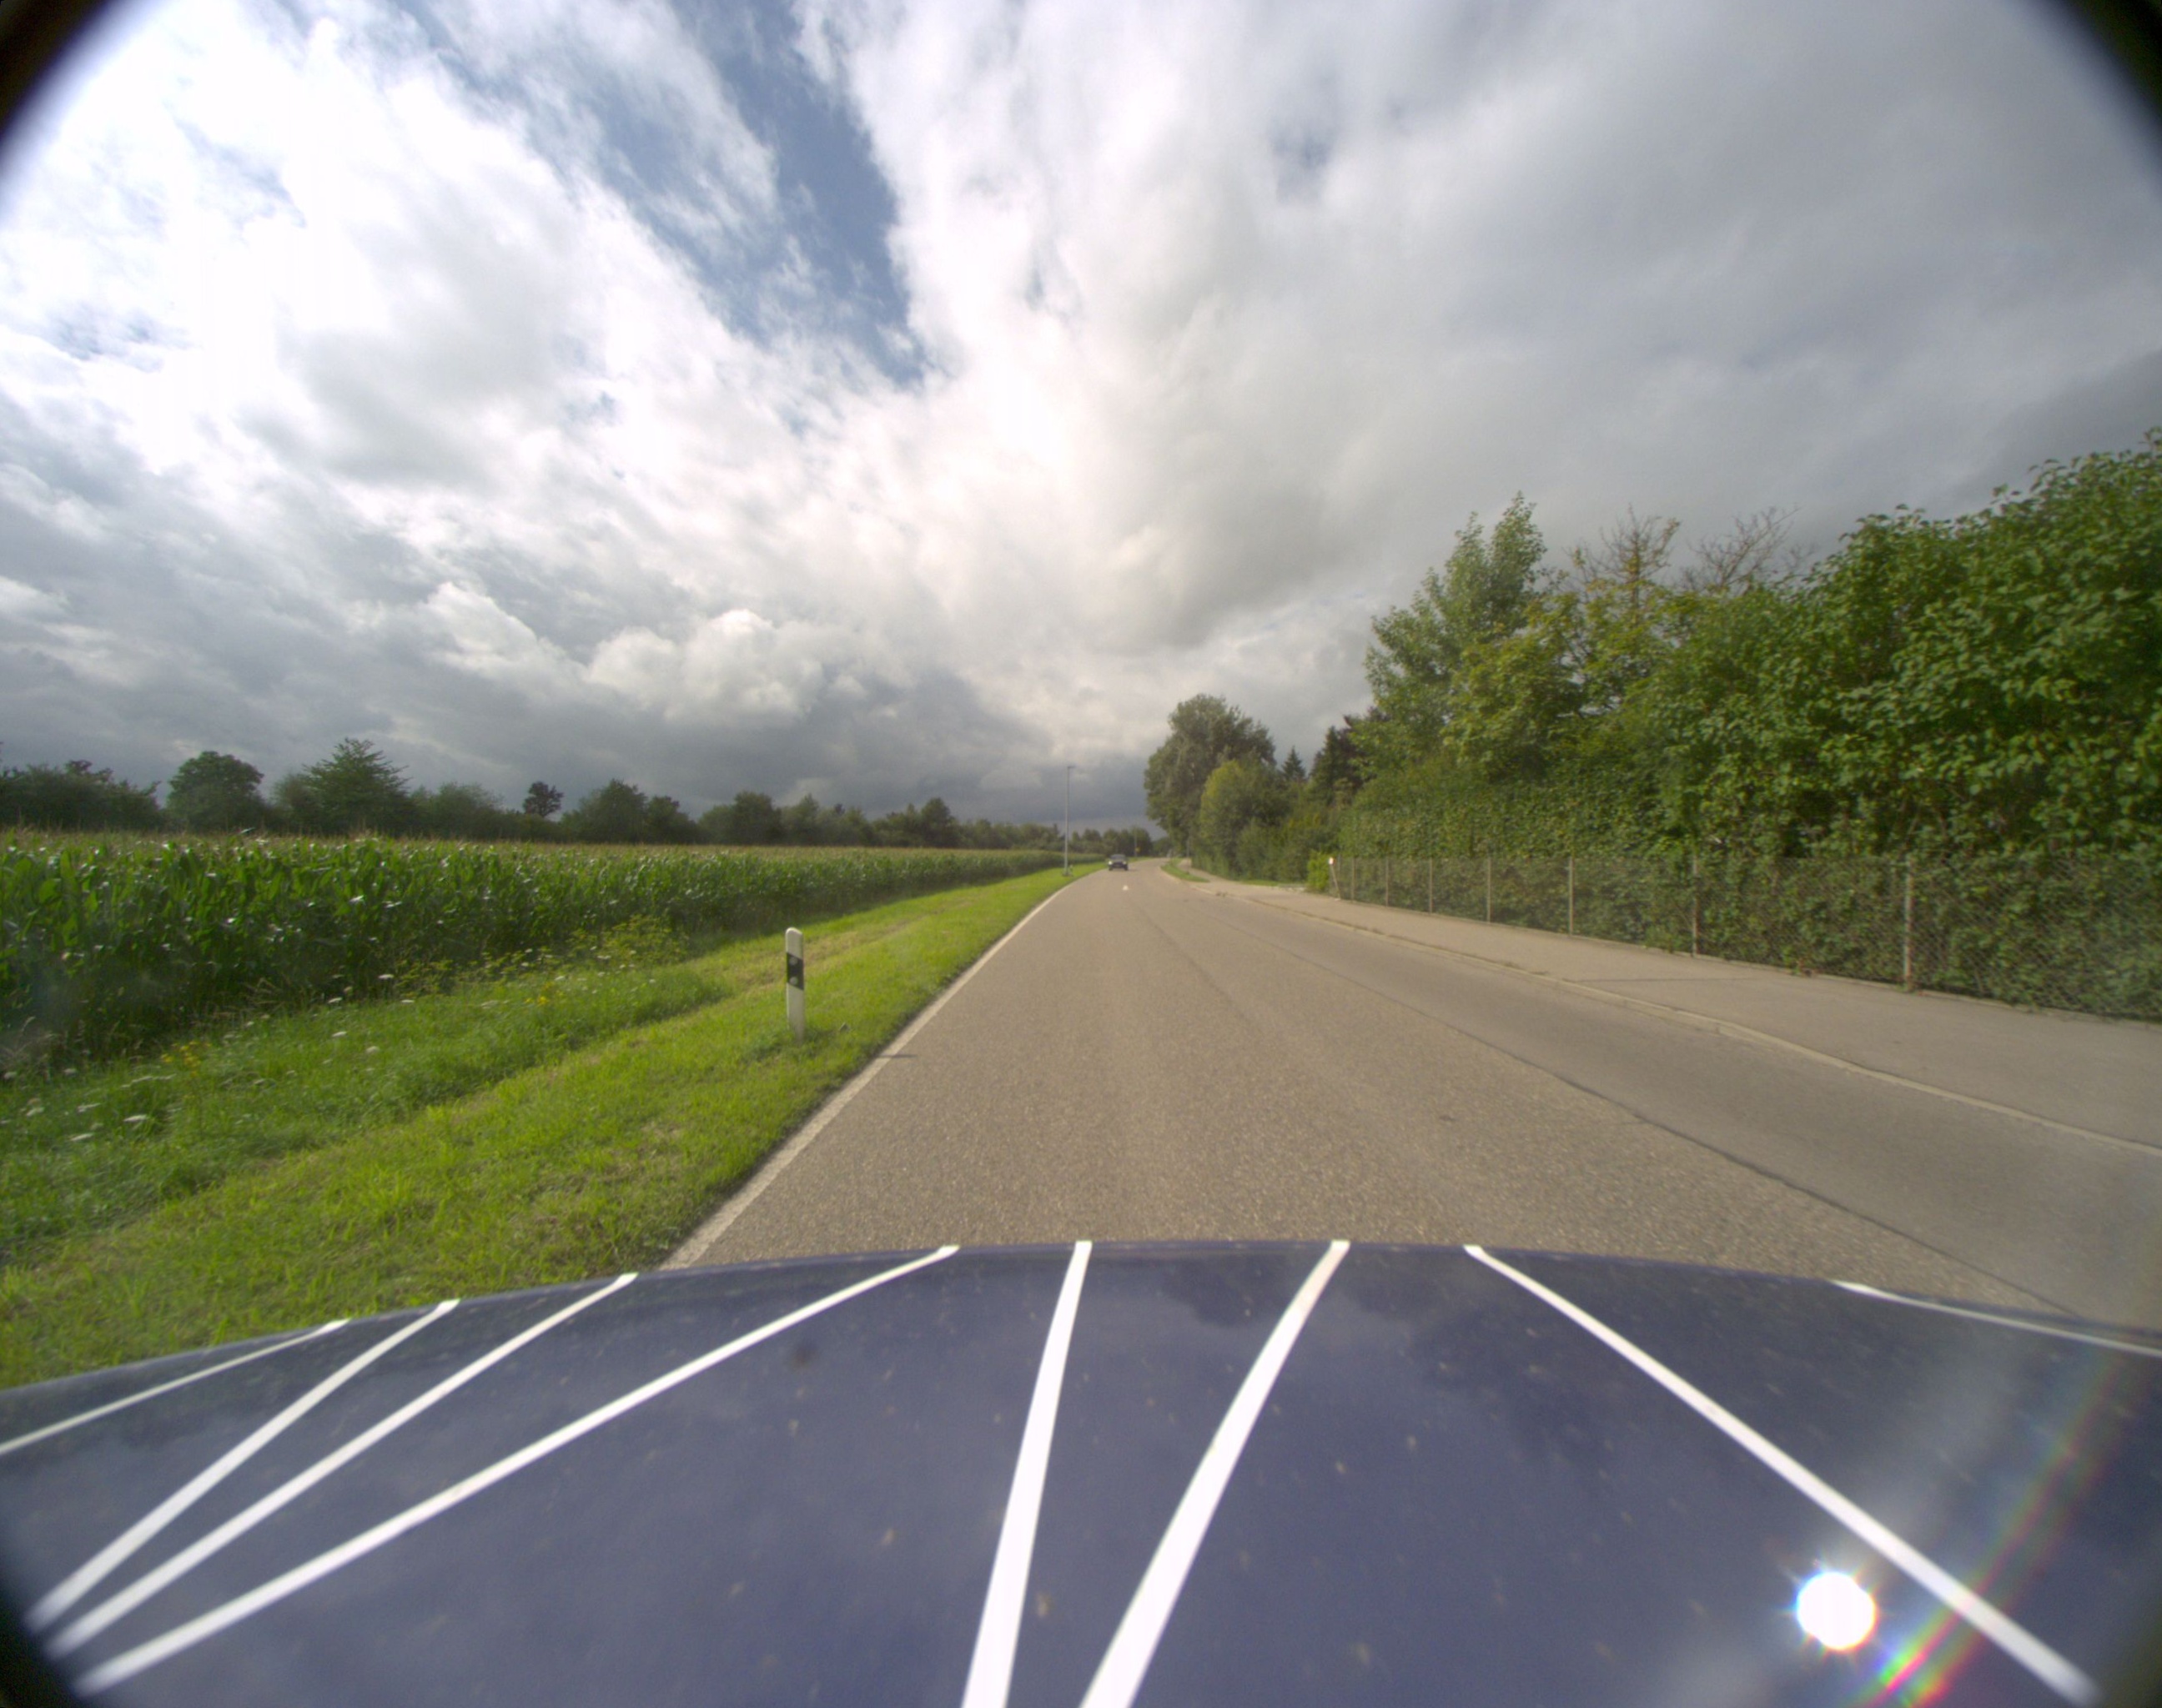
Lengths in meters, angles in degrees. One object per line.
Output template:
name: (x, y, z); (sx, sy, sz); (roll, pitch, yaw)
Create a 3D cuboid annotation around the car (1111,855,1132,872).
car: (4.148, 0.961, 77.854); (1.998, 1.594, 4.001); (-1, 0, 4)
